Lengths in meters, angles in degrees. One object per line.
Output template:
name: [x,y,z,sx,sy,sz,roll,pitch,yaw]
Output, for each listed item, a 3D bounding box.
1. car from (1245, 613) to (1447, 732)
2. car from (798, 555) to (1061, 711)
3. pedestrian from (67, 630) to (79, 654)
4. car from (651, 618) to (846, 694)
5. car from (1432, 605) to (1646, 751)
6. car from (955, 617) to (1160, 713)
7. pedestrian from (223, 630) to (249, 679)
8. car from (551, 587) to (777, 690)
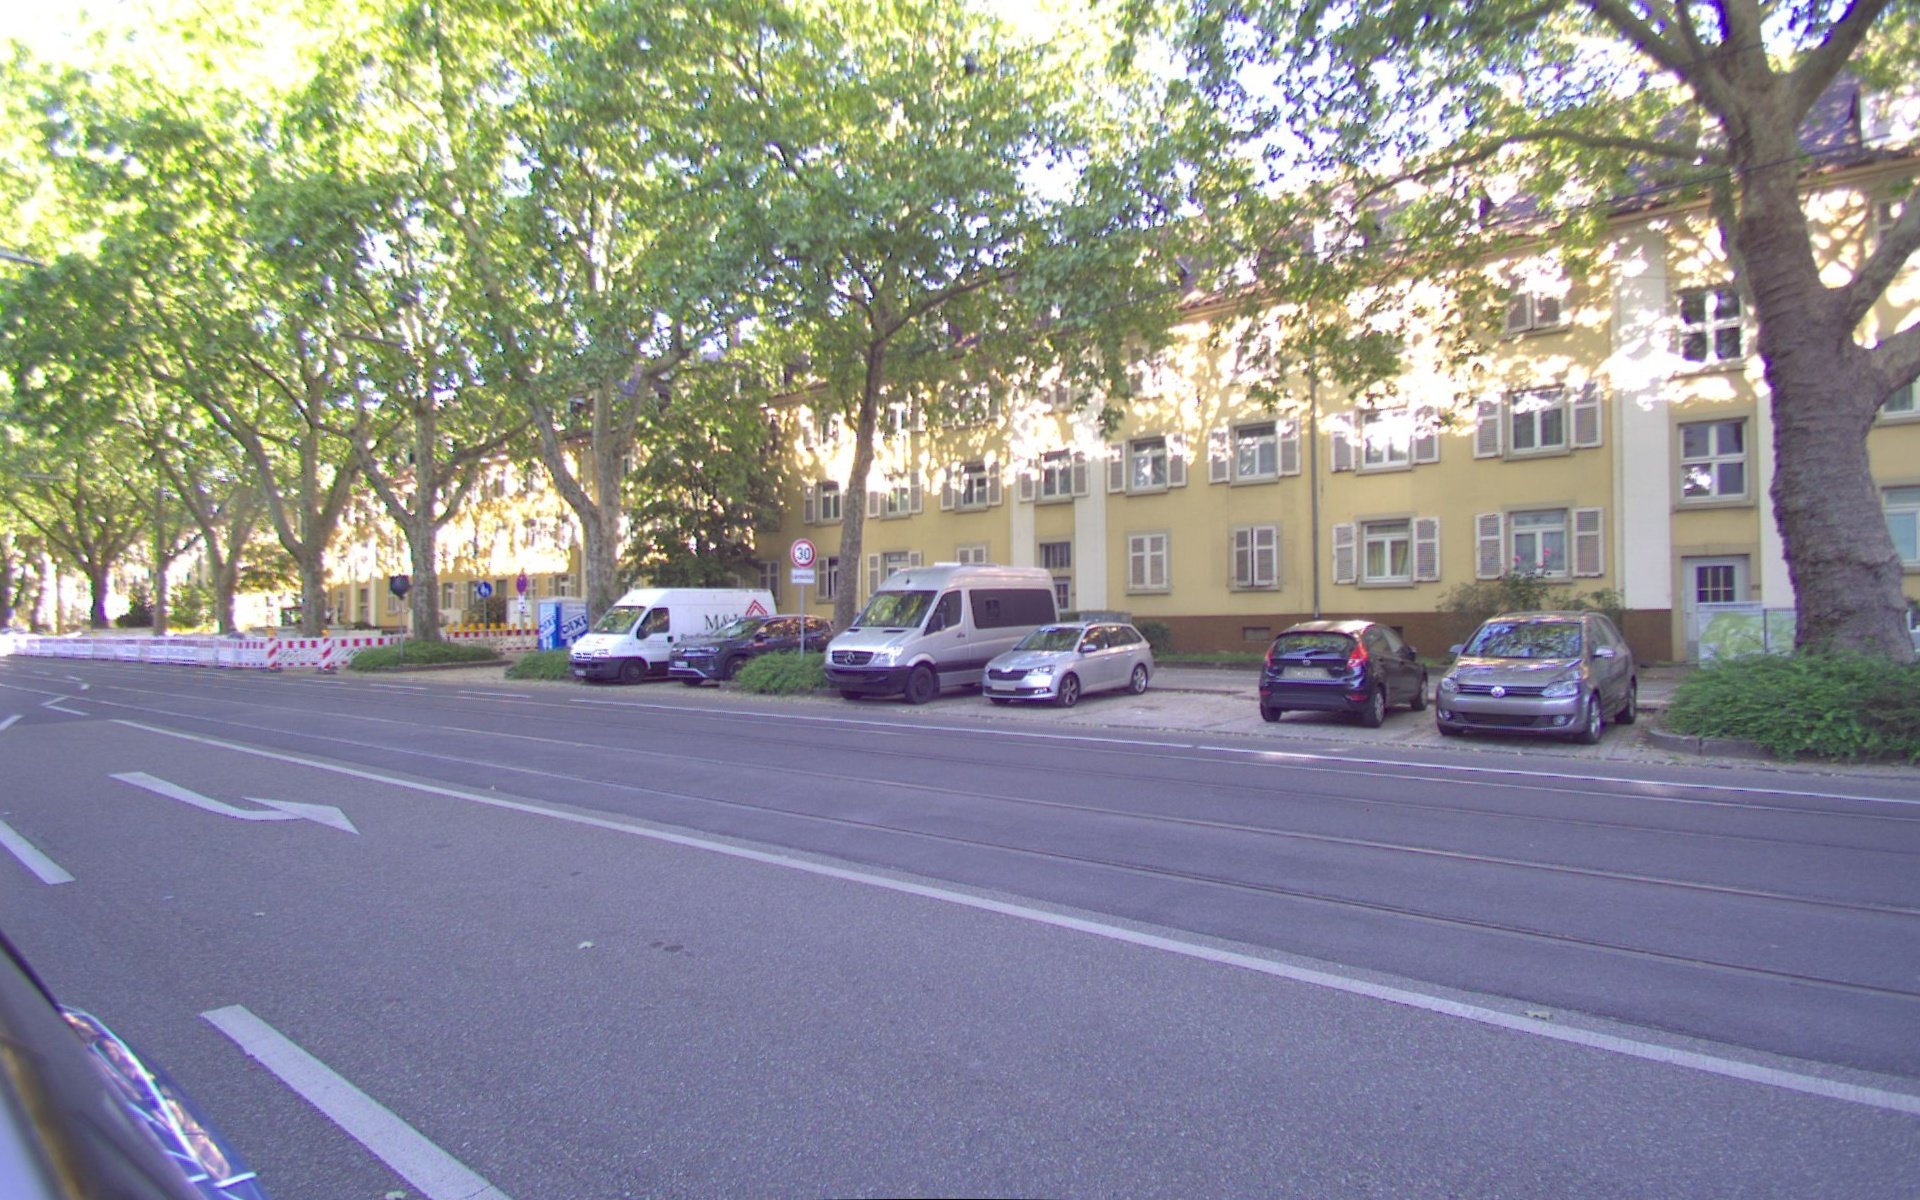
car: [5.964,1.001,15.415,1.671,1.509,3.756,-2,-1,41]
car: [-0.429,0.609,20.444,2.221,2.702,5.596,-2,-1,38]
pedestrian: [-72.177,3.411,82.329,0.722,1.900,0.666,-1,0,-42]
car: [-4.981,1.276,24.444,1.772,1.664,4.570,-2,-2,38]
car: [7.741,0.899,13.364,1.672,1.592,3.928,-2,-1,41]
car: [1.910,1.121,18.832,1.773,1.509,4.031,-2,-1,41]
pedestrian: [-27.162,2.034,37.969,0.581,1.759,0.645,-1,0,32]
car: [-7.563,0.964,26.370,2.222,2.394,5.336,-2,-2,40]
